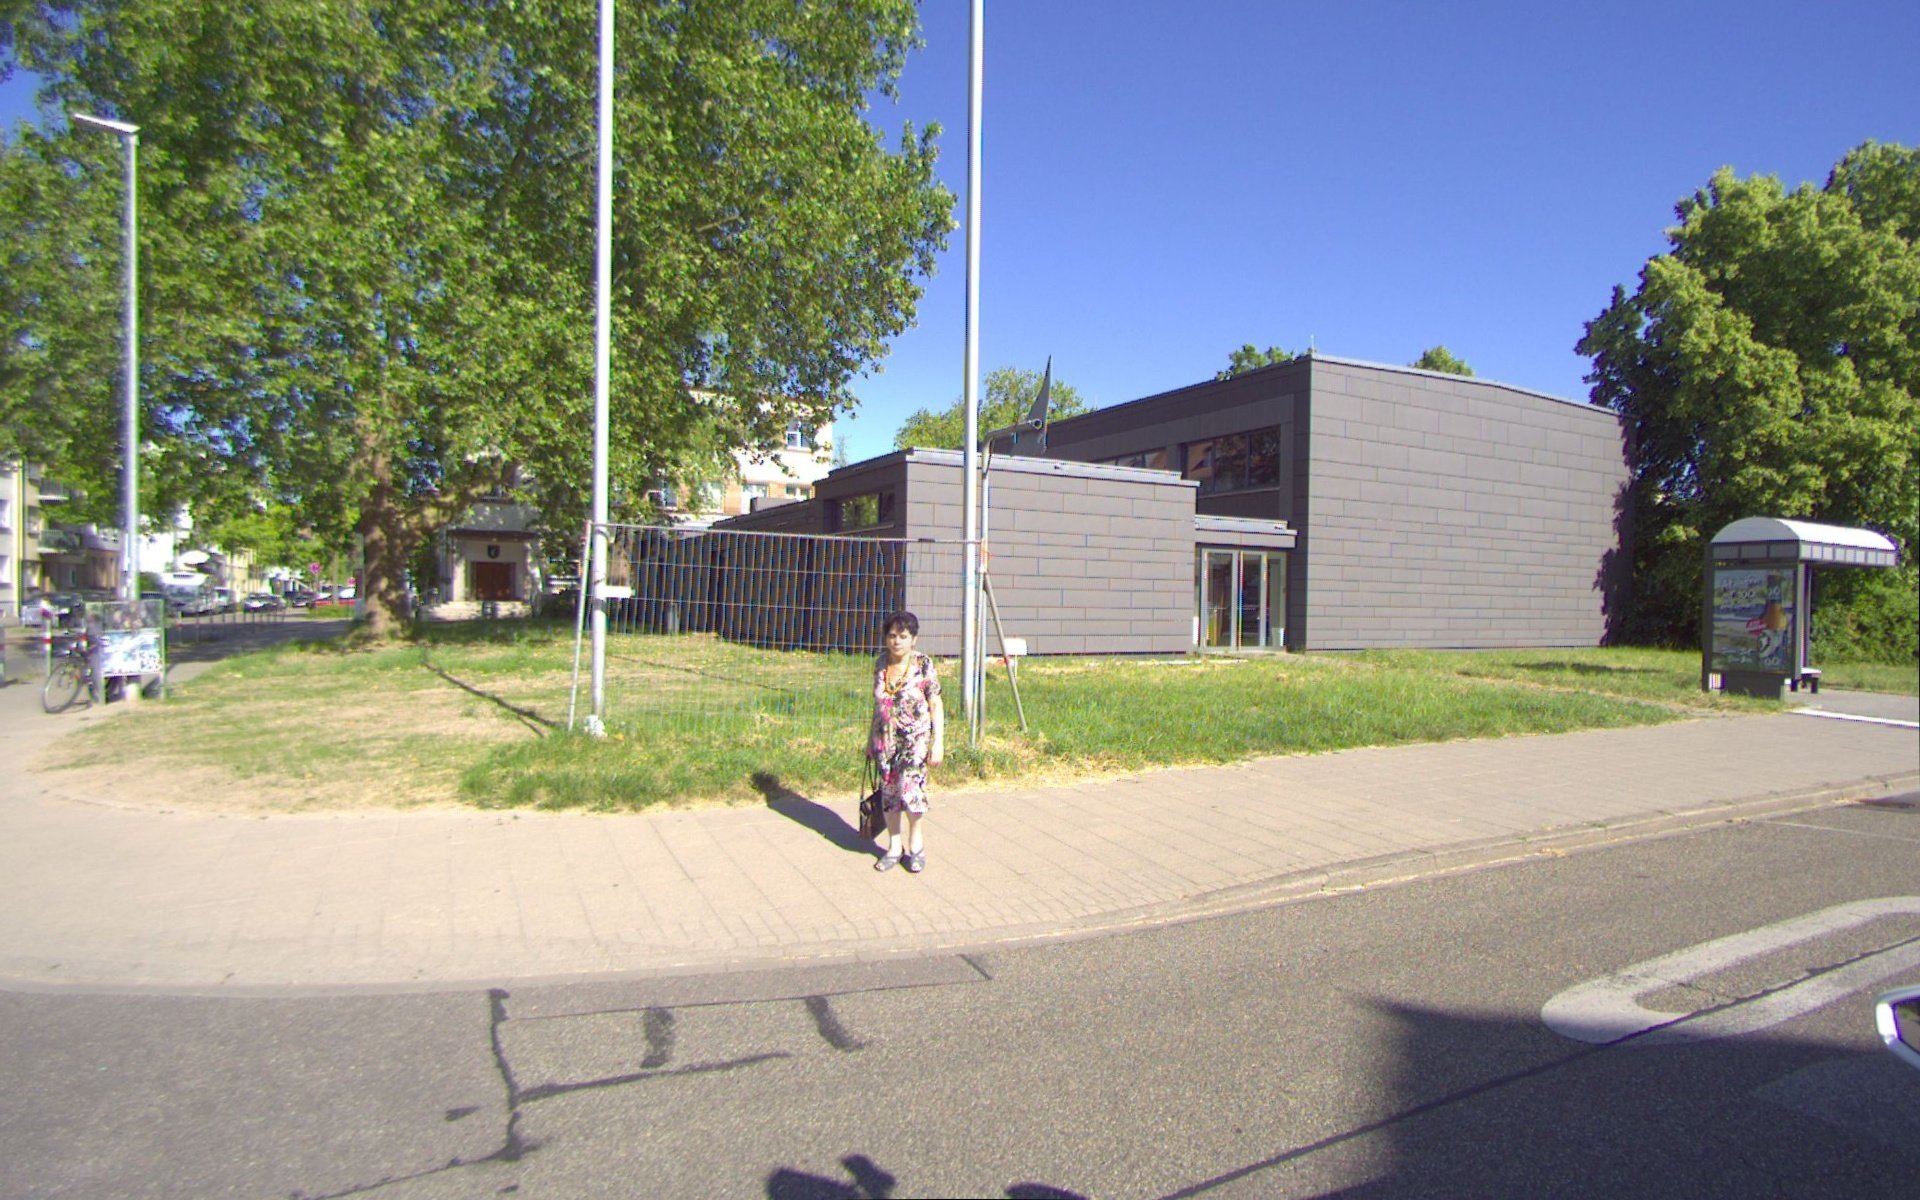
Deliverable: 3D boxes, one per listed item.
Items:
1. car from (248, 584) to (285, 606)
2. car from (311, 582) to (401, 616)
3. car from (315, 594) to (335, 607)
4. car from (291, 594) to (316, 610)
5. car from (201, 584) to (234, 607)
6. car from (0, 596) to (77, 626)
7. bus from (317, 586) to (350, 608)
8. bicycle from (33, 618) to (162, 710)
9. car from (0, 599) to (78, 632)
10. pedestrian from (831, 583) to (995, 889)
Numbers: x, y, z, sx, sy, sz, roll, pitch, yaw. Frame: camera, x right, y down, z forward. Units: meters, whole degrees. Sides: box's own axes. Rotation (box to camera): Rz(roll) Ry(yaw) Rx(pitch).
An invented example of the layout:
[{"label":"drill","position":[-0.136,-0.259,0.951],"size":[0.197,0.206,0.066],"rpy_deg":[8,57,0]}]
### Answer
[{"label":"car","position":[-57.336,-0.406,83.081],"size":[1.974,1.773,3.972],"rpy_deg":[1,0,-27]},{"label":"car","position":[-37.240,-0.055,62.064],"size":[4.621,2.040,1.985],"rpy_deg":[1,1,-28]},{"label":"car","position":[-97.141,0.067,153.702],"size":[1.973,1.773,3.975],"rpy_deg":[1,0,-25]},{"label":"car","position":[-75.581,0.212,115.640],"size":[1.974,1.773,3.972],"rpy_deg":[1,0,-27]},{"label":"car","position":[-58.795,-0.367,79.567],"size":[1.980,1.694,3.961],"rpy_deg":[1,0,-35]},{"label":"car","position":[-39.092,0.456,42.669],"size":[1.520,1.209,3.970],"rpy_deg":[1,-1,-29]},{"label":"bus","position":[-77.560,-0.436,124.422],"size":[2.764,2.543,10.117],"rpy_deg":[1,1,-28]},{"label":"bicycle","position":[-10.625,0.756,12.436],"size":[0.491,0.998,1.597],"rpy_deg":[-1,1,-12]},{"label":"car","position":[-34.851,0.576,37.914],"size":[1.520,1.209,3.970],"rpy_deg":[1,-1,-29]},{"label":"pedestrian","position":[-0.259,0.739,5.941],"size":[0.619,1.608,0.836],"rpy_deg":[5,4,19]}]
